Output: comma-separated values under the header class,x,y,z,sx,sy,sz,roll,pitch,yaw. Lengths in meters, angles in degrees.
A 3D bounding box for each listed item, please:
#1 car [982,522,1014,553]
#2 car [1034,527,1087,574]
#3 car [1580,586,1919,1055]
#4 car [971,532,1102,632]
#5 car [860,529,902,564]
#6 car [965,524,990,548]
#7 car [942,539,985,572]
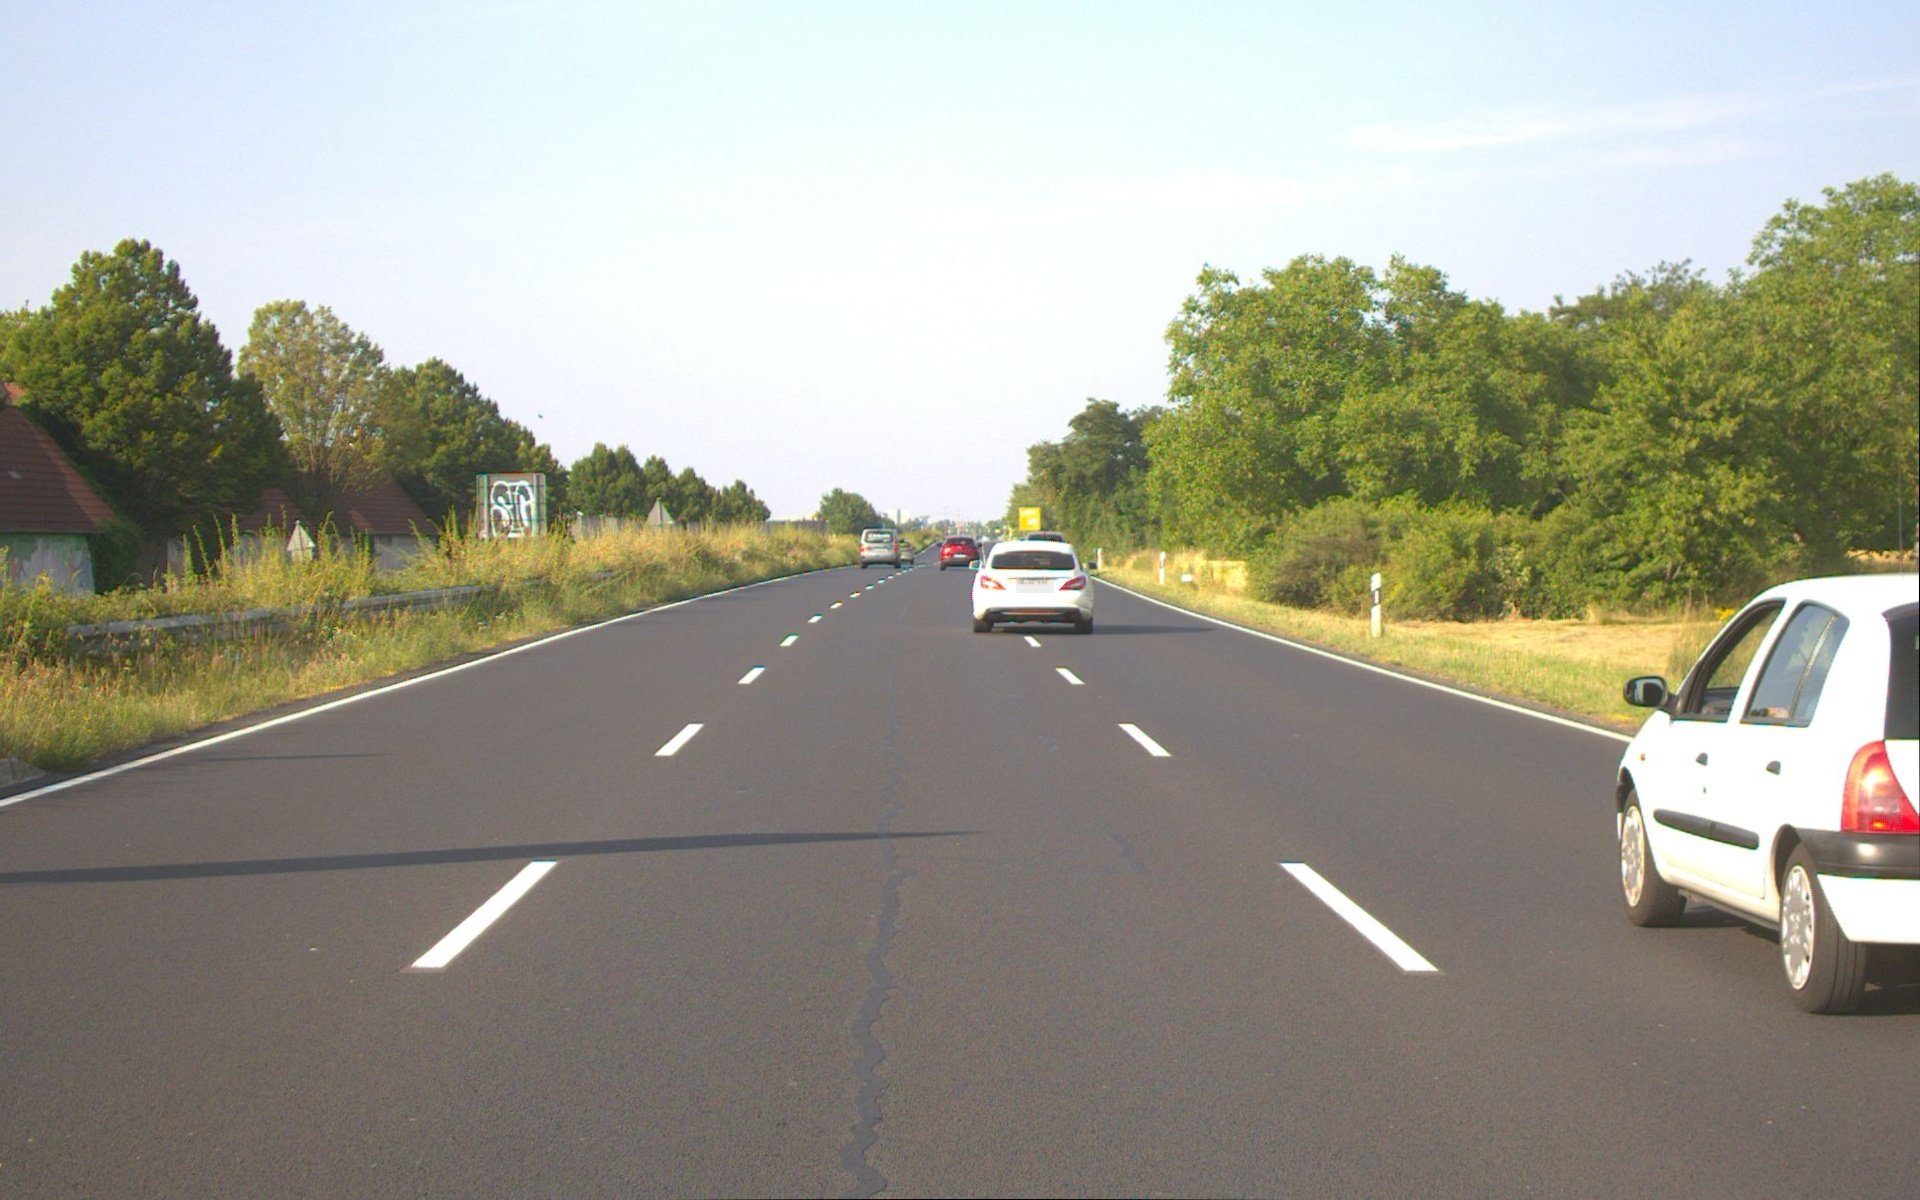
class,x,y,z,sx,sy,sz,roll,pitch,yaw
car,2.136,-3.529,194.840,1.770,1.678,4.000,0,0,1
car,3.729,-1.827,127.670,1.828,1.722,4.000,0,0,0
car,3.378,0.651,12.177,1.617,1.382,3.951,0,0,0
car,1.174,-0.291,54.641,1.993,1.511,4.000,0,0,0
car,-3.794,-2.563,165.223,1.758,1.612,4.000,0,0,2
car,1.289,-4.666,249.998,1.770,1.678,4.000,0,0,1
car,0.143,-1.949,152.216,1.812,1.431,3.858,0,0,-1
